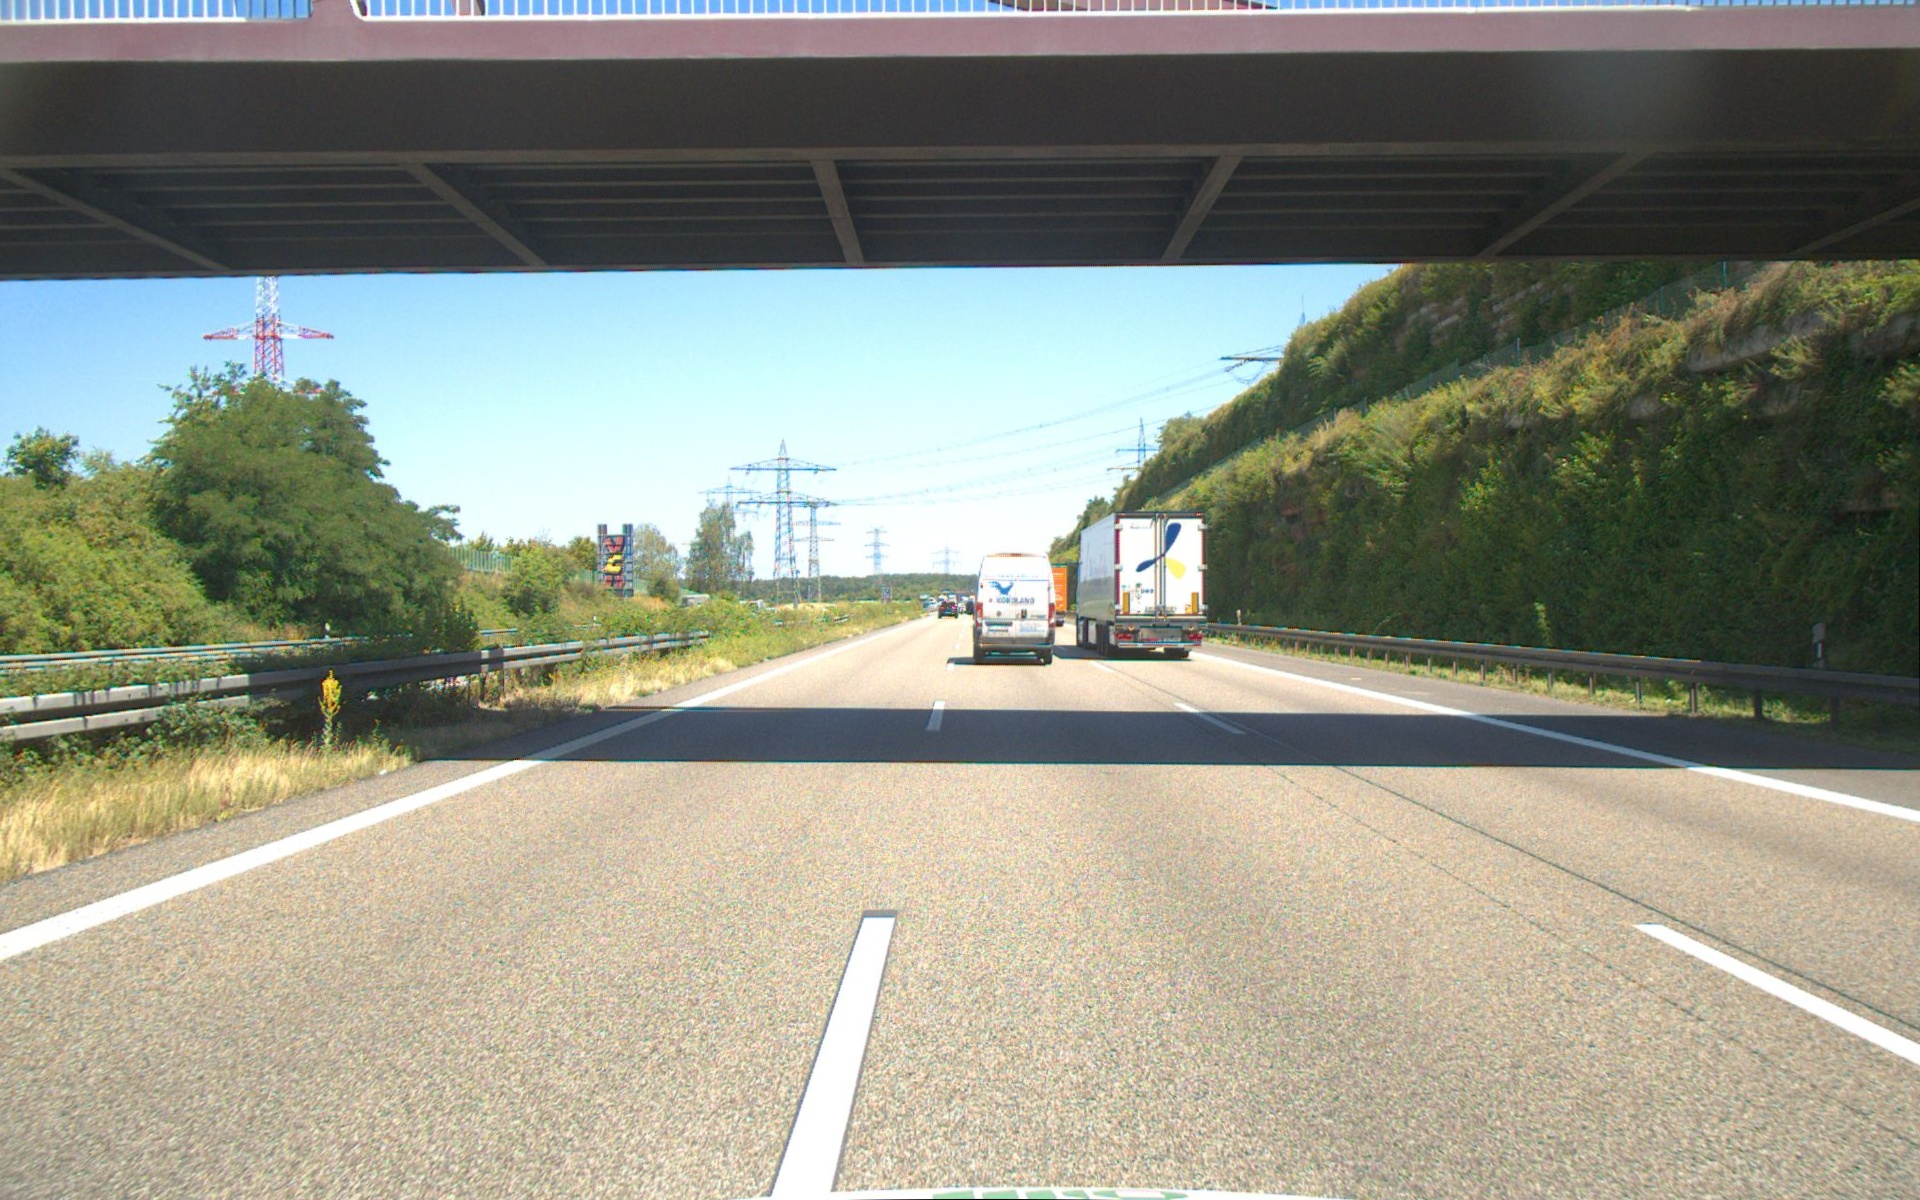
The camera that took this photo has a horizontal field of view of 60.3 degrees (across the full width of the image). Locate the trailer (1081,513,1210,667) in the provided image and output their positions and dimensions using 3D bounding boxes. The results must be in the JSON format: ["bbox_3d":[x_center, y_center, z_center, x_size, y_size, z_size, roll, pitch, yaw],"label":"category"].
[{"bbox_3d":[5.486,-0.284,51.036,2.583,4.131,12.366,1,0,0],"label":"trailer"}]

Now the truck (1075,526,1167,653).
[{"bbox_3d":[5.519,-0.345,57.517,2.583,4.131,5.800,1,0,0],"label":"truck"}]

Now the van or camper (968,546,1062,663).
[{"bbox_3d":[1.362,0.103,43.342,2.185,2.831,5.422,1,0,-1],"label":"van or camper"}]

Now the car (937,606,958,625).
[{"bbox_3d":[-1.238,1.580,166.254,1.941,1.849,3.813,1,0,1],"label":"car"}]

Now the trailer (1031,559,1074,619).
[{"bbox_3d":[6.370,-0.740,114.891,2.583,3.965,7.068,1,0,0],"label":"trailer"}]

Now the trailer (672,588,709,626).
[{"bbox_3d":[-19.385,0.494,119.297,1.763,2.664,4.408,1,0,2],"label":"trailer"}]
